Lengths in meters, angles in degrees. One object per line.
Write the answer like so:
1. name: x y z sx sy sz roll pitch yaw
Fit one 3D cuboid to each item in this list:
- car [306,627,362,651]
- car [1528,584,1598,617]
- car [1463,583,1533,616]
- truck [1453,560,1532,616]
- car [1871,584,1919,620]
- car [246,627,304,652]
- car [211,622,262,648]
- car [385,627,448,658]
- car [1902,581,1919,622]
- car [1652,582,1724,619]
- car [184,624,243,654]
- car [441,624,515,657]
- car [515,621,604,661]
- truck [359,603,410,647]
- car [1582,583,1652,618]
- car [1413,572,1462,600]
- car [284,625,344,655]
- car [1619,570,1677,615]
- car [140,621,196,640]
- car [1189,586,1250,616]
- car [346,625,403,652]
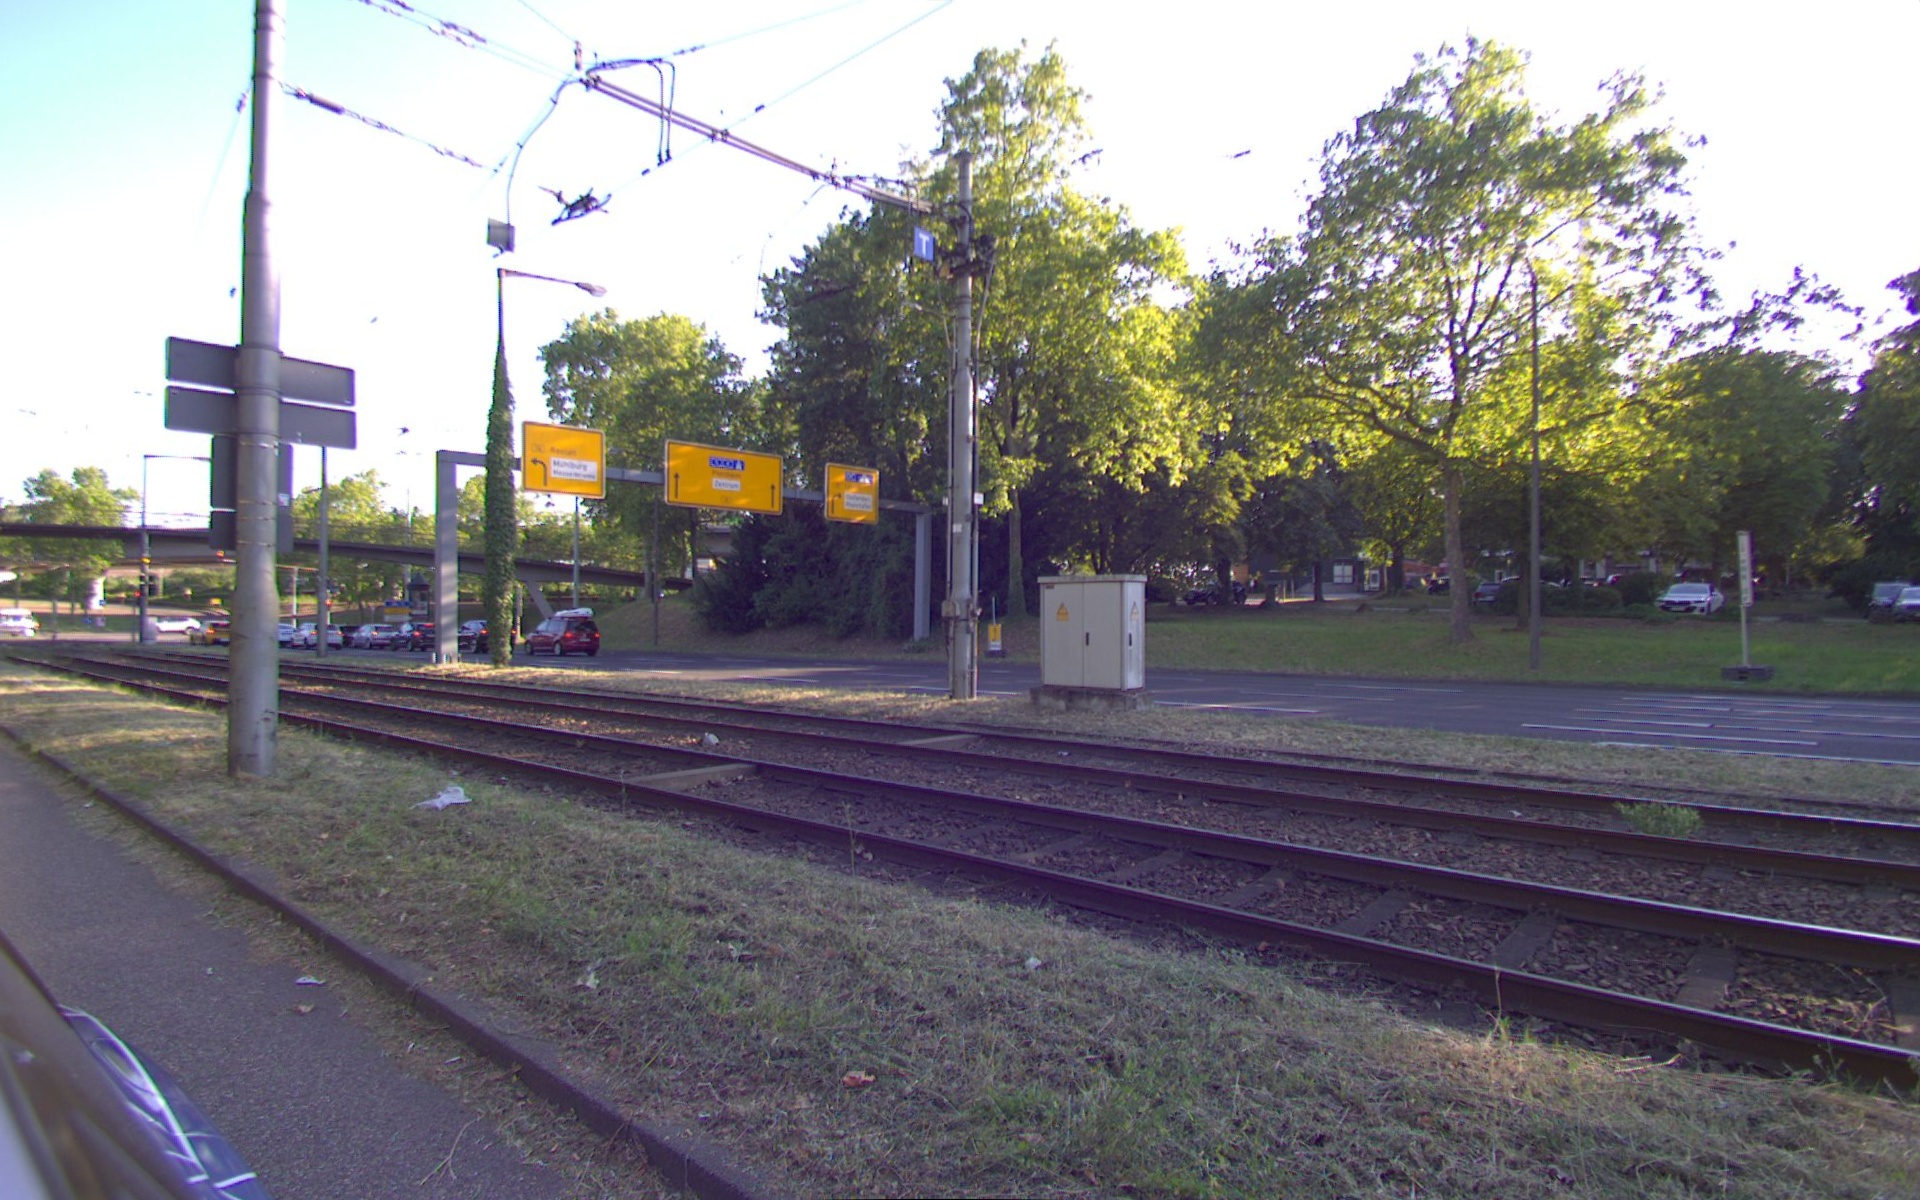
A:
1. car: -39.754 2.437 64.236 4.224 1.435 1.844 -1 -1 40
2. car: 28.432 0.007 47.658 1.942 1.521 4.039 0 0 44
3. car: 26.177 -0.052 49.186 1.942 1.521 4.039 0 0 44
4. truck: 31.751 -0.698 60.285 2.503 3.191 6.137 0 0 45
5. car: 43.976 0.084 47.225 3.998 1.628 1.864 -1 0 -43
6. car: -40.851 2.344 60.313 4.226 1.435 1.893 -1 -1 42
7. car: -45.829 2.183 64.052 4.228 1.561 1.892 -1 -2 44
8. car: -29.274 2.265 54.504 3.971 1.569 1.733 -2 -3 42
9. car: 37.586 0.027 38.892 1.942 1.521 4.039 0 0 44
10. car: 31.568 -0.006 43.845 1.942 1.521 4.039 0 0 44
11. car: -40.796 2.123 55.263 3.997 1.556 1.744 -1 -1 40
12. car: -23.482 1.939 49.243 4.332 1.556 1.713 -1 -2 41
13. car: -17.686 1.775 44.637 4.308 1.647 1.818 -1 -2 40
14. truck: -40.294 1.739 70.775 2.248 2.901 6.895 0 -1 -37
15. car: 30.041 -0.002 46.220 1.942 1.521 4.039 0 0 44
16. car: 33.565 -1.005 71.061 2.290 1.864 5.214 -1 1 34
17. car: -35.733 2.204 55.963 3.997 1.556 1.744 -1 -1 40
18. car: 36.893 -0.410 54.239 2.161 2.320 4.348 0 0 40
19. car: -71.279 2.750 91.104 1.677 1.591 3.759 0 0 43
20. car: 15.403 0.054 59.959 1.791 1.657 3.942 -1 -1 44
21. car: -34.954 2.270 60.420 3.998 1.556 1.789 -1 -1 41
